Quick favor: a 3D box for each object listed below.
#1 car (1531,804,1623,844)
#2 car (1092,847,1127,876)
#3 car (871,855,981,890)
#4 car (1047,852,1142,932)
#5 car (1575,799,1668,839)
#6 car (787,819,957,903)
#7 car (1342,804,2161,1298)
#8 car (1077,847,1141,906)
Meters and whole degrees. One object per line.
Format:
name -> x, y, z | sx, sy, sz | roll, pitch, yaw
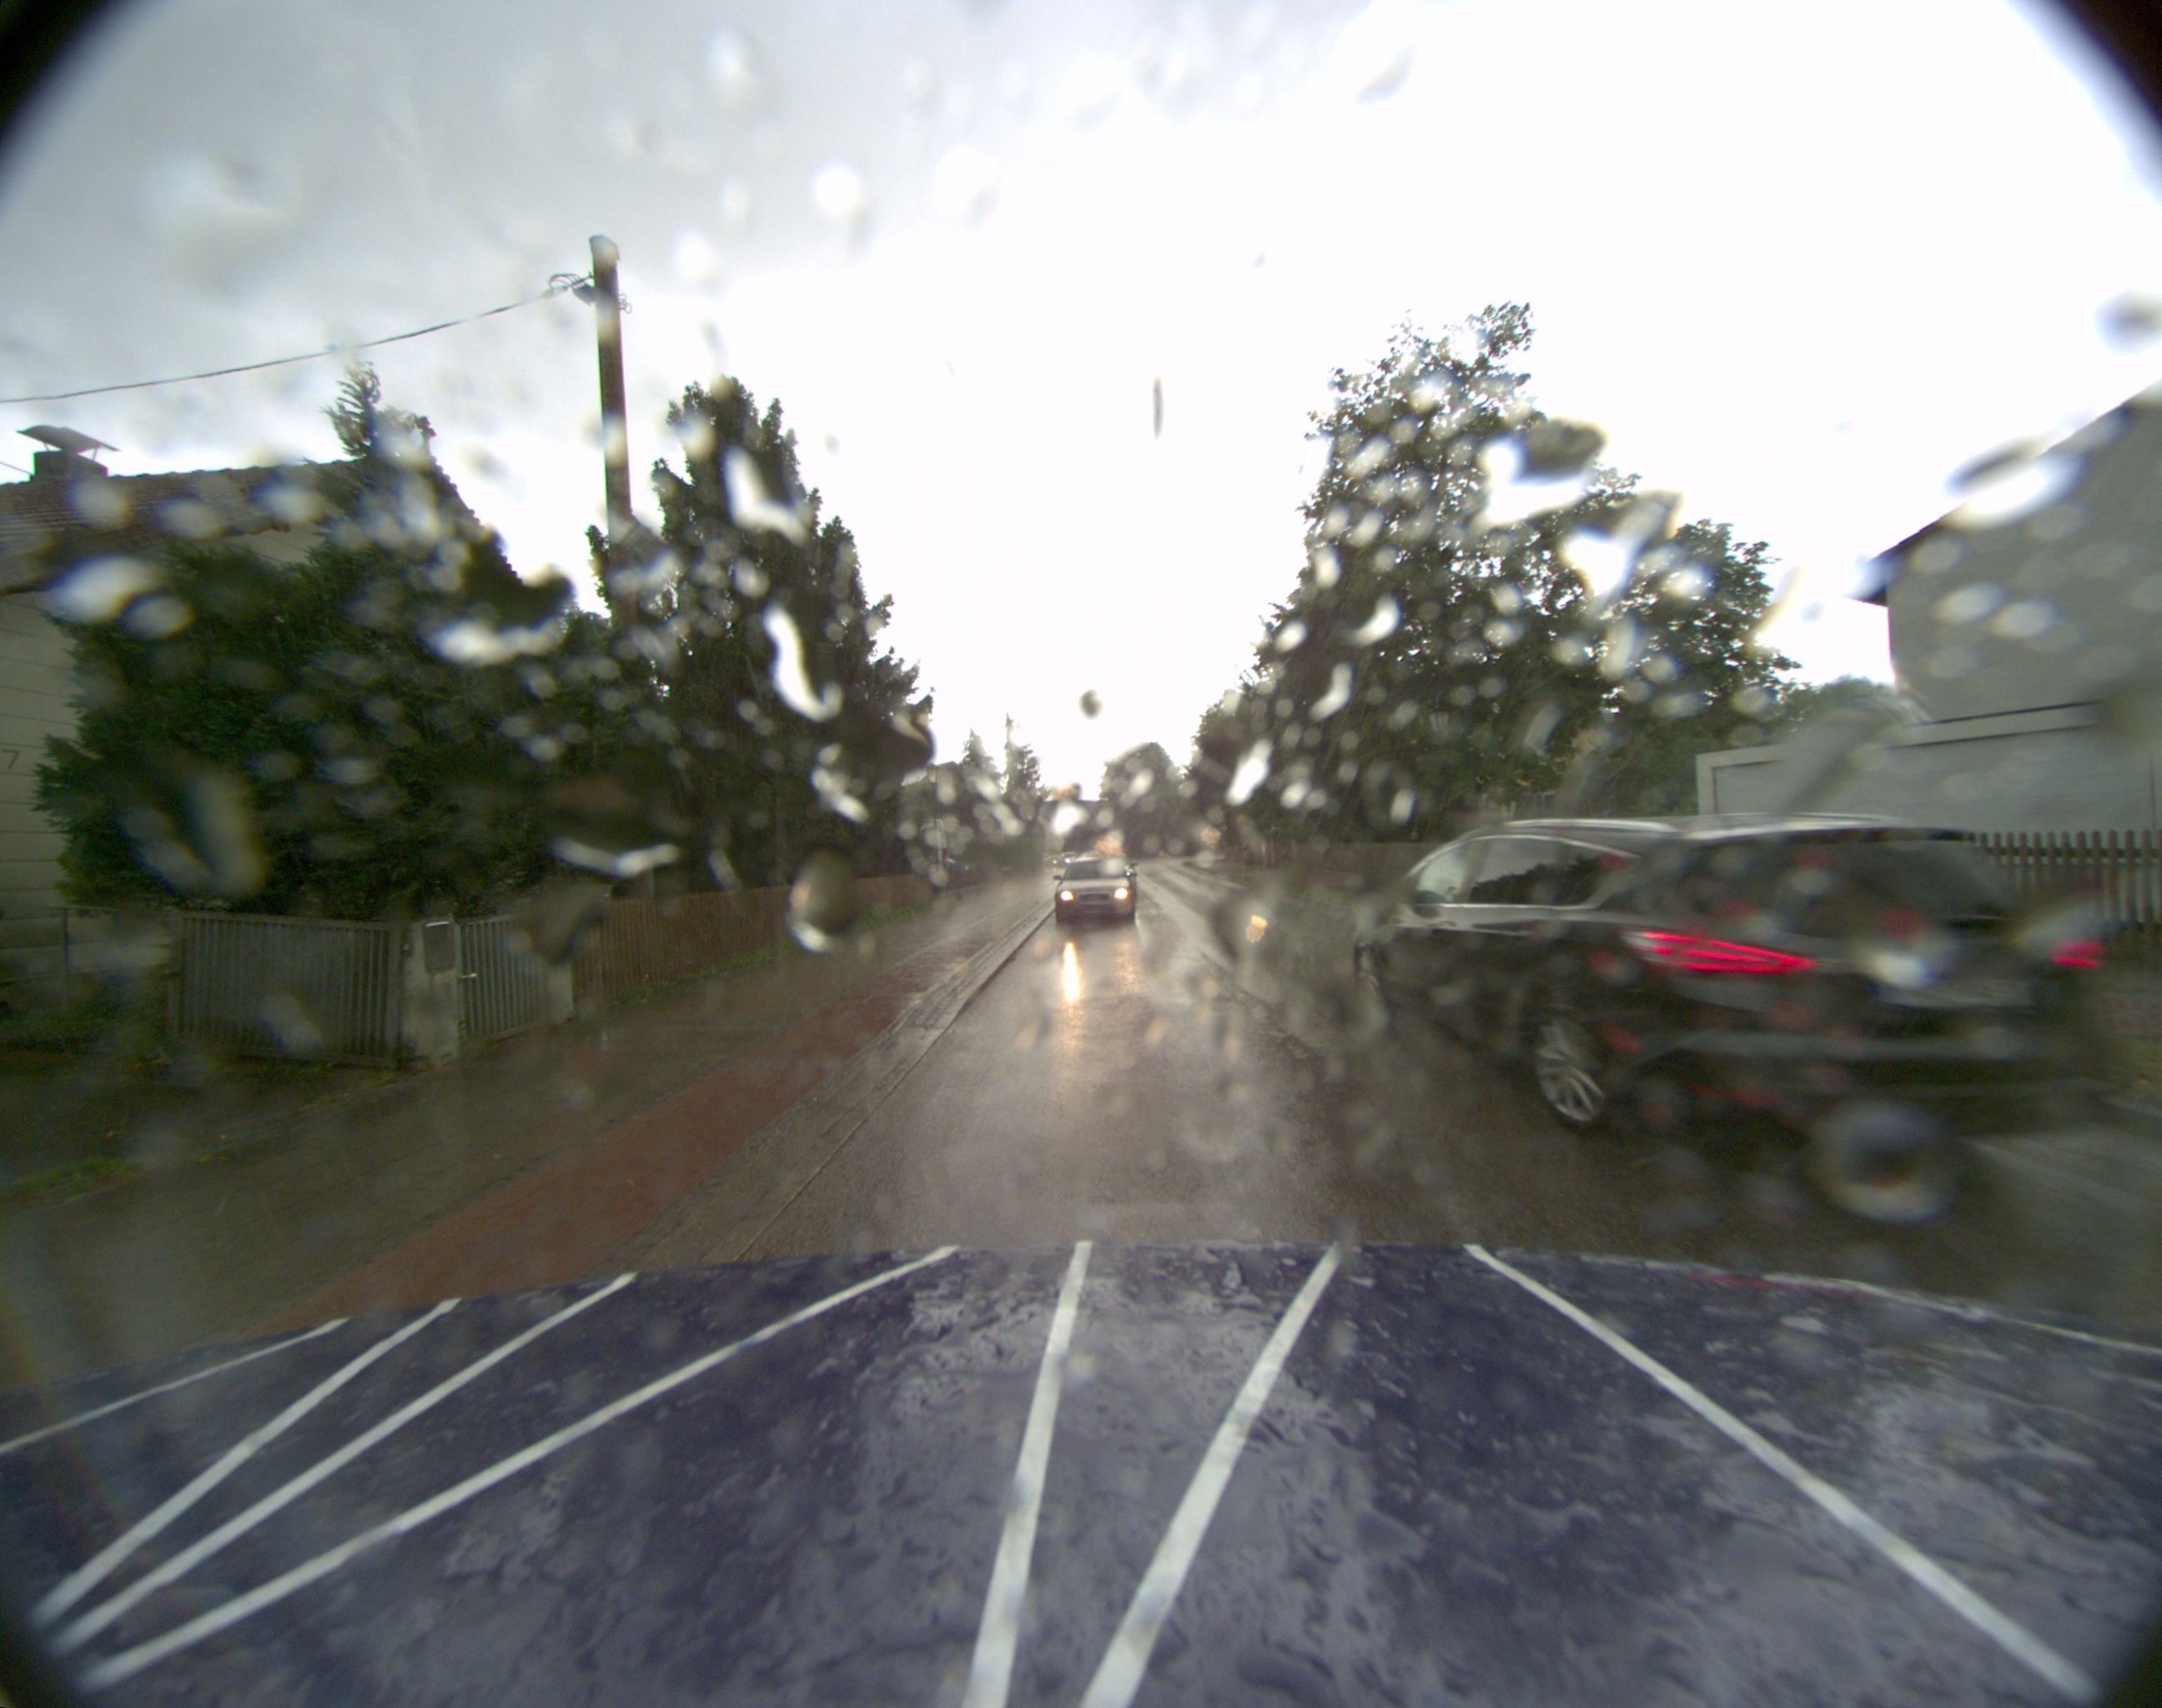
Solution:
car -> 27.081, -1.623, 41.585 | 1.845, 1.792, 3.649 | -6, 0, -32
car -> 1.693, 0.398, 45.563 | 1.872, 1.512, 4.961 | -4, 1, 2
car -> -6.571, 0.771, 32.622 | 4.442, 1.413, 1.829 | 0, 1, -6
car -> 0.350, 0.783, 17.705 | 1.872, 1.512, 4.188 | -3, 1, 2
car -> 29.996, -1.913, 42.263 | 1.845, 1.792, 3.649 | -6, 0, -32
car -> -6.976, 0.208, 25.936 | 5.320, 2.712, 1.998 | 0, 1, -7
car -> 3.341, 0.682, 4.809 | 1.927, 1.734, 4.191 | -2, 1, 0
car -> 0.947, 0.674, 25.975 | 1.872, 1.603, 4.960 | -4, 1, 2
